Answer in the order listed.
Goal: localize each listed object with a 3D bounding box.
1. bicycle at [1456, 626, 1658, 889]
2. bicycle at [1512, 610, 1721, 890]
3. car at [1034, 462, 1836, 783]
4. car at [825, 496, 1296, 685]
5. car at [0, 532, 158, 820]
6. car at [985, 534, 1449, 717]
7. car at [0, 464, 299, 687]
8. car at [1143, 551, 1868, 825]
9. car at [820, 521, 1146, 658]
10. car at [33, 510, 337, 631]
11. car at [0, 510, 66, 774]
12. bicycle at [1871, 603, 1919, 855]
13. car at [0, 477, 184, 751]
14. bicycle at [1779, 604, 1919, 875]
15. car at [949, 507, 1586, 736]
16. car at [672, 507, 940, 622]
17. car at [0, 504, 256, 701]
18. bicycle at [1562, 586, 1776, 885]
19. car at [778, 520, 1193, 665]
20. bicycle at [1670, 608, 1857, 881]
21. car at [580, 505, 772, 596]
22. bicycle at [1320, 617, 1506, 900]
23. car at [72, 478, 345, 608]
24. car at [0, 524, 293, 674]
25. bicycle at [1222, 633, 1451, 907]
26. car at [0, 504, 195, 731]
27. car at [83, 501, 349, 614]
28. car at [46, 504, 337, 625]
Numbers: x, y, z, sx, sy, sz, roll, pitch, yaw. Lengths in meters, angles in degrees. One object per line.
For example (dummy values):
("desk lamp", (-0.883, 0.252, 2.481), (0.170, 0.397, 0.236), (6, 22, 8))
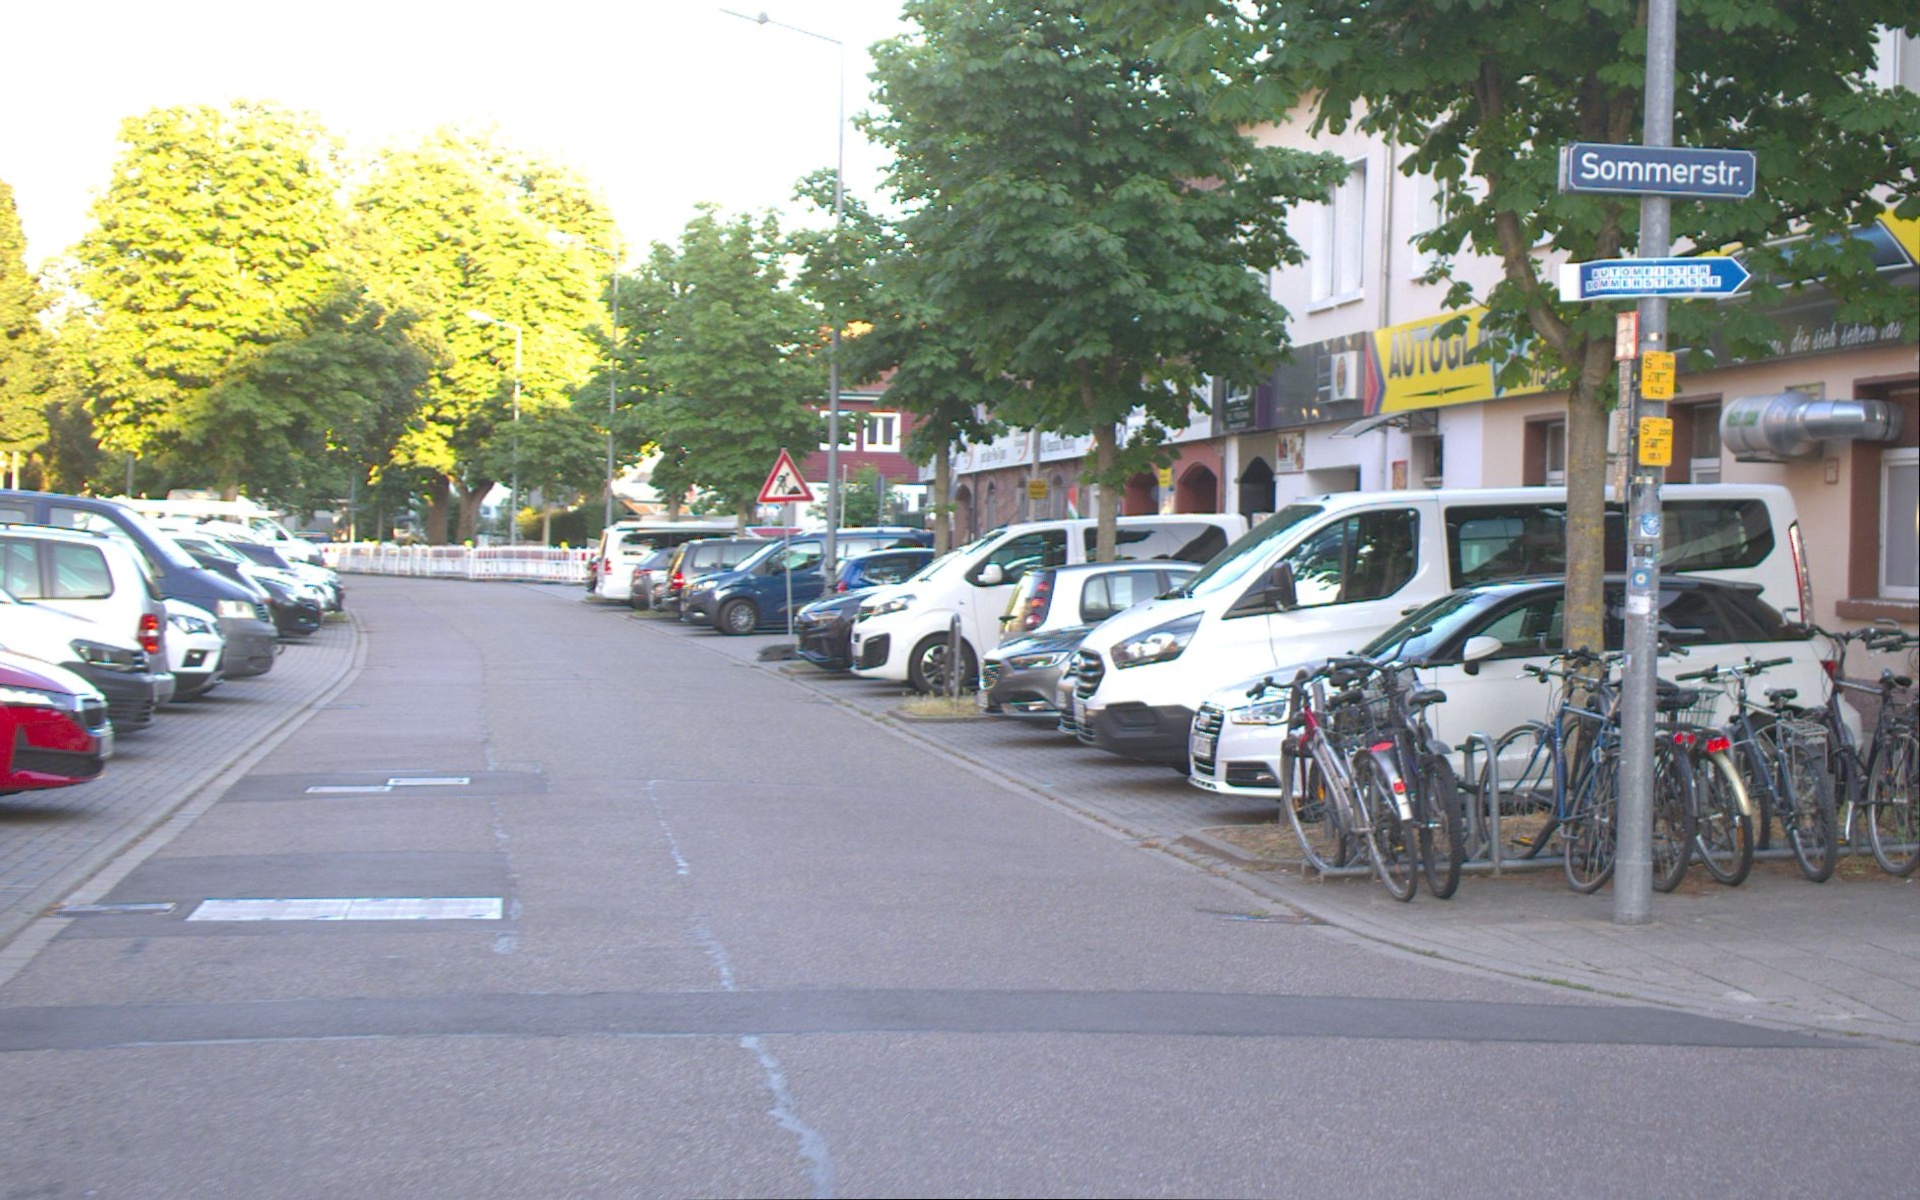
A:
("bicycle", (2.824, 0.715, 16.425), (0.385, 1.110, 2.018), (0, 1, -7))
("bicycle", (3.110, 0.676, 16.443), (0.385, 1.196, 2.018), (0, 1, -7))
("car", (3.142, 0.109, 23.406), (4.989, 1.976, 2.220), (-1, 1, -6))
("car", (1.083, -0.136, 38.433), (4.943, 1.951, 2.050), (-1, 1, -8))
("car", (-6.697, 0.323, 18.906), (4.208, 1.484, 1.850), (2, 1, -6))
("car", (2.292, 0.202, 31.344), (3.911, 1.521, 1.939), (-1, 1, -6))
("car", (-9.013, -0.293, 33.536), (4.849, 2.014, 1.907), (2, 1, -7))
("car", (3.215, 0.481, 20.617), (3.917, 1.446, 1.769), (-1, 2, -9))
("car", (0.298, -0.175, 48.263), (4.315, 1.798, 1.811), (-1, 1, -8))
("car", (-11.599, -0.450, 51.719), (4.255, 1.616, 2.001), (2, 1, -8))
("car", (-7.954, 0.163, 21.762), (4.208, 1.610, 2.001), (2, 1, -9))
("bicycle", (4.813, 0.632, 16.443), (0.353, 1.196, 1.482), (0, 1, -7))
("car", (-7.774, 0.014, 24.235), (4.256, 1.830, 2.001), (2, 1, -7))
("bicycle", (4.385, 0.637, 16.405), (0.444, 1.196, 1.482), (0, 1, -7))
("car", (2.483, 0.141, 28.542), (4.943, 1.736, 2.050), (-1, 1, -6))
("car", (-2.734, -0.645, 60.570), (4.478, 1.905, 1.688), (-1, 1, -11))
("car", (-8.628, -0.034, 31.012), (4.256, 1.646, 1.888), (2, 1, -7))
("bicycle", (3.369, 0.604, 16.480), (0.385, 1.300, 2.018), (0, 1, -7))
("car", (0.286, -0.119, 43.323), (4.943, 1.683, 2.077), (-1, 1, -8))
("bicycle", (3.806, 0.660, 16.373), (0.385, 1.196, 1.482), (0, 1, -7))
("car", (-6.275, -1.113, 75.861), (3.967, 1.905, 2.050), (-1, 1, -11))
("bicycle", (2.122, 0.711, 16.313), (0.385, 1.196, 2.018), (0, 1, -7))
("car", (-13.441, -1.024, 61.717), (4.532, 2.127, 2.001), (2, 1, -7))
("car", (-9.666, -0.052, 38.187), (4.256, 1.500, 2.001), (2, 1, -7))
("bicycle", (1.730, 0.756, 16.081), (0.438, 1.126, 2.018), (-1, 1, -12))
("car", (-8.234, 0.054, 26.673), (4.256, 1.654, 2.001), (2, 1, -7))
("car", (-12.754, -0.738, 59.147), (4.256, 1.743, 2.001), (2, 1, -7))
("car", (-12.099, -0.566, 54.353), (4.256, 1.709, 2.001), (2, 1, -7))
